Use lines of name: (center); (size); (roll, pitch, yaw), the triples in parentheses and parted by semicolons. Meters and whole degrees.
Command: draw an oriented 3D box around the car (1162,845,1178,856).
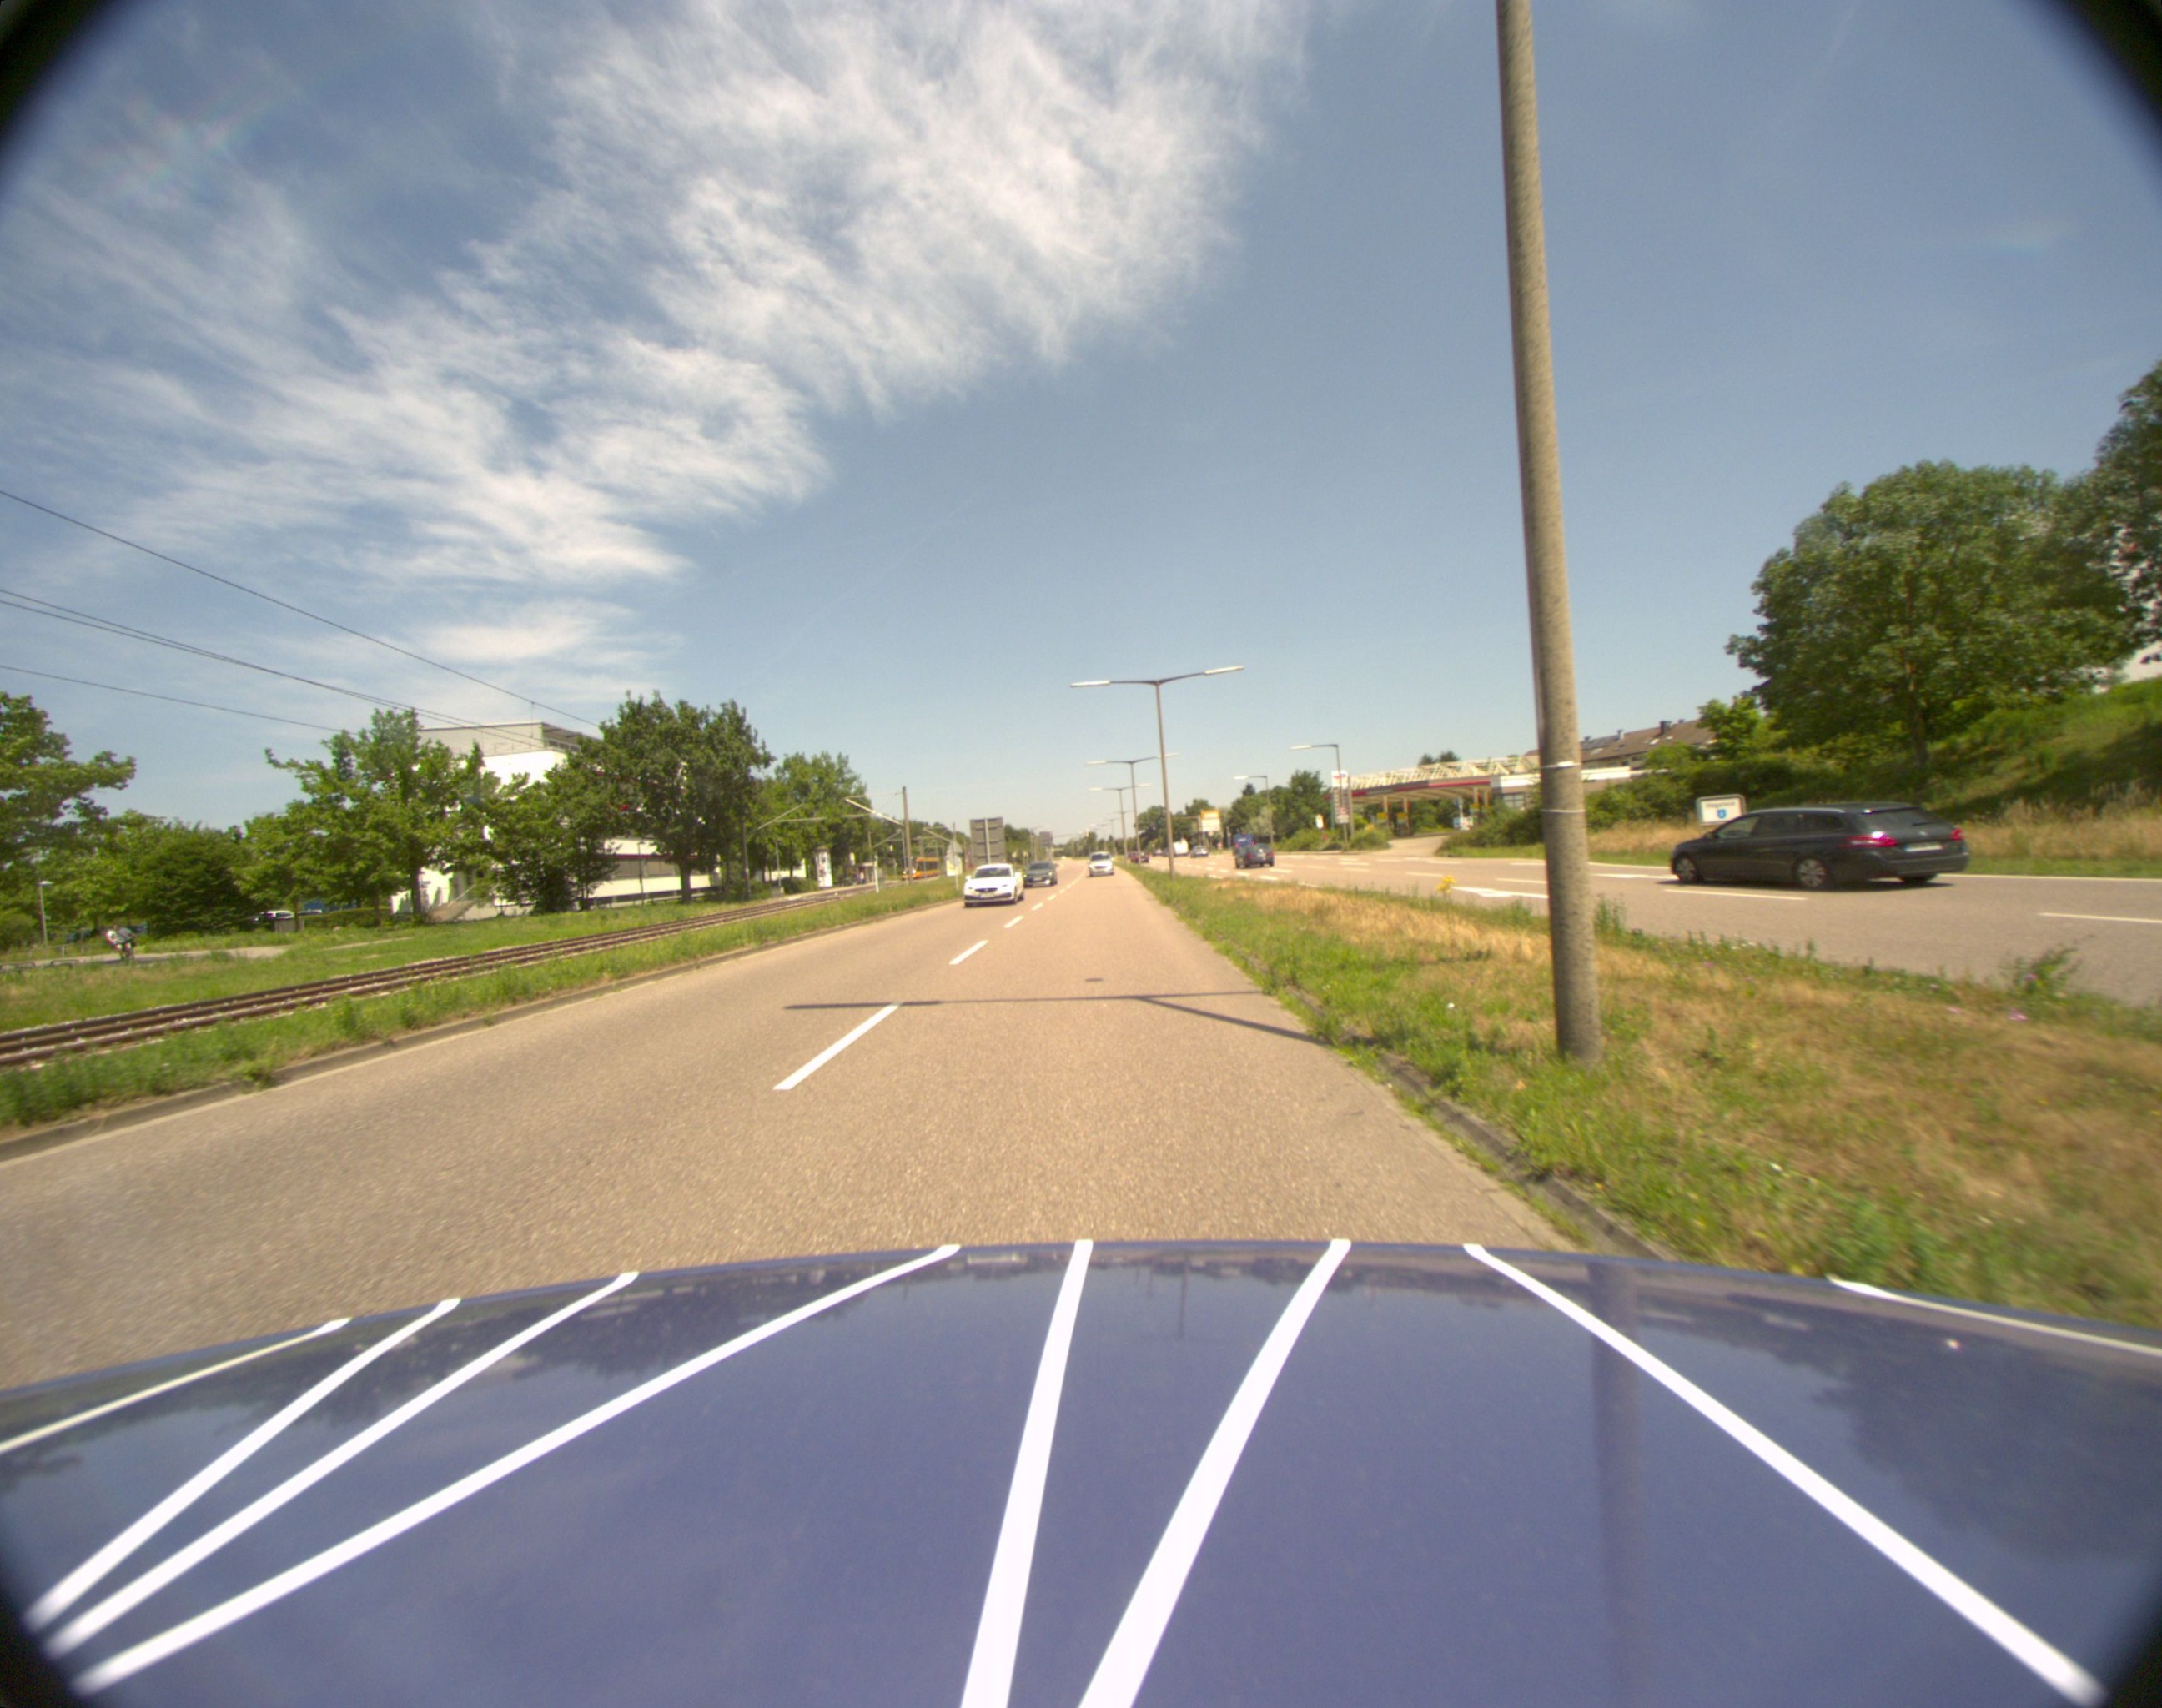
car: (15.381, -0.568, 131.421); (1.970, 1.740, 5.020); (-5, 1, -1)

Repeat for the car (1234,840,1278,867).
car: (10.637, -0.039, 46.473); (1.696, 1.483, 4.000); (-4, 0, 0)

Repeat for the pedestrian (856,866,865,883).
pedestrian: (-24.169, 2.248, 83.325); (0.696, 1.831, 0.711); (-6, 1, -14)

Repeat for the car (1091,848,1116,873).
car: (1.714, 0.493, 59.648); (1.876, 1.866, 5.731); (0, 0, 0)

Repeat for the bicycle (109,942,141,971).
bicycle: (-39.363, 4.243, 31.273); (1.577, 1.113, 0.432); (-4, 1, 26)

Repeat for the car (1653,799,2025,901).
car: (13.147, -0.068, 13.746); (1.998, 1.352, 4.665); (-5, 0, 1)

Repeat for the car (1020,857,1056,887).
car: (-2.535, 1.050, 45.945); (1.723, 1.587, 4.000); (-4, 0, 2)

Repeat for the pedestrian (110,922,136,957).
pedestrian: (-39.571, 3.543, 31.395); (0.583, 1.395, 0.459); (-4, 1, 24)

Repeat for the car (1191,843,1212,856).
car: (15.706, -0.554, 99.003); (1.835, 1.441, 4.851); (-4, 0, 0)

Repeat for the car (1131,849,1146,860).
car: (8.249, 0.049, 109.158); (1.662, 1.482, 3.999); (-5, 0, -1)

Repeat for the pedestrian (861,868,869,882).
pedestrian: (-24.940, 2.409, 87.758); (0.553, 1.599, 0.690); (-6, 1, 2)

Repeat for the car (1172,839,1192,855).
car: (15.507, -1.083, 117.262); (2.255, 2.260, 5.449); (-6, 0, 2)

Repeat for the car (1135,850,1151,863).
car: (7.874, 0.342, 96.697); (1.680, 1.426, 4.191); (-5, 0, 1)

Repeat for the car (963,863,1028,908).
car: (-3.037, 1.072, 27.749); (1.686, 1.381, 4.451); (-3, 0, 1)

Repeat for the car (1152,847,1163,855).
car: (15.397, -0.617, 152.710); (1.662, 1.530, 3.999); (-7, 0, -1)

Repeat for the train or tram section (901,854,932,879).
train or tram section: (-25.166, 1.798, 116.693); (2.822, 3.561, 12.496); (-1, 0, -4)

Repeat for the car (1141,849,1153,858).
car: (12.015, -0.101, 138.677); (1.735, 1.449, 4.565); (-4, 0, 2)

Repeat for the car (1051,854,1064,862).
car: (-5.416, 0.910, 173.338); (1.997, 1.652, 4.002); (-4, 0, 10)

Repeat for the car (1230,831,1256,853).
car: (19.148, -1.416, 90.009); (2.178, 2.397, 5.673); (-5, 0, 5)
